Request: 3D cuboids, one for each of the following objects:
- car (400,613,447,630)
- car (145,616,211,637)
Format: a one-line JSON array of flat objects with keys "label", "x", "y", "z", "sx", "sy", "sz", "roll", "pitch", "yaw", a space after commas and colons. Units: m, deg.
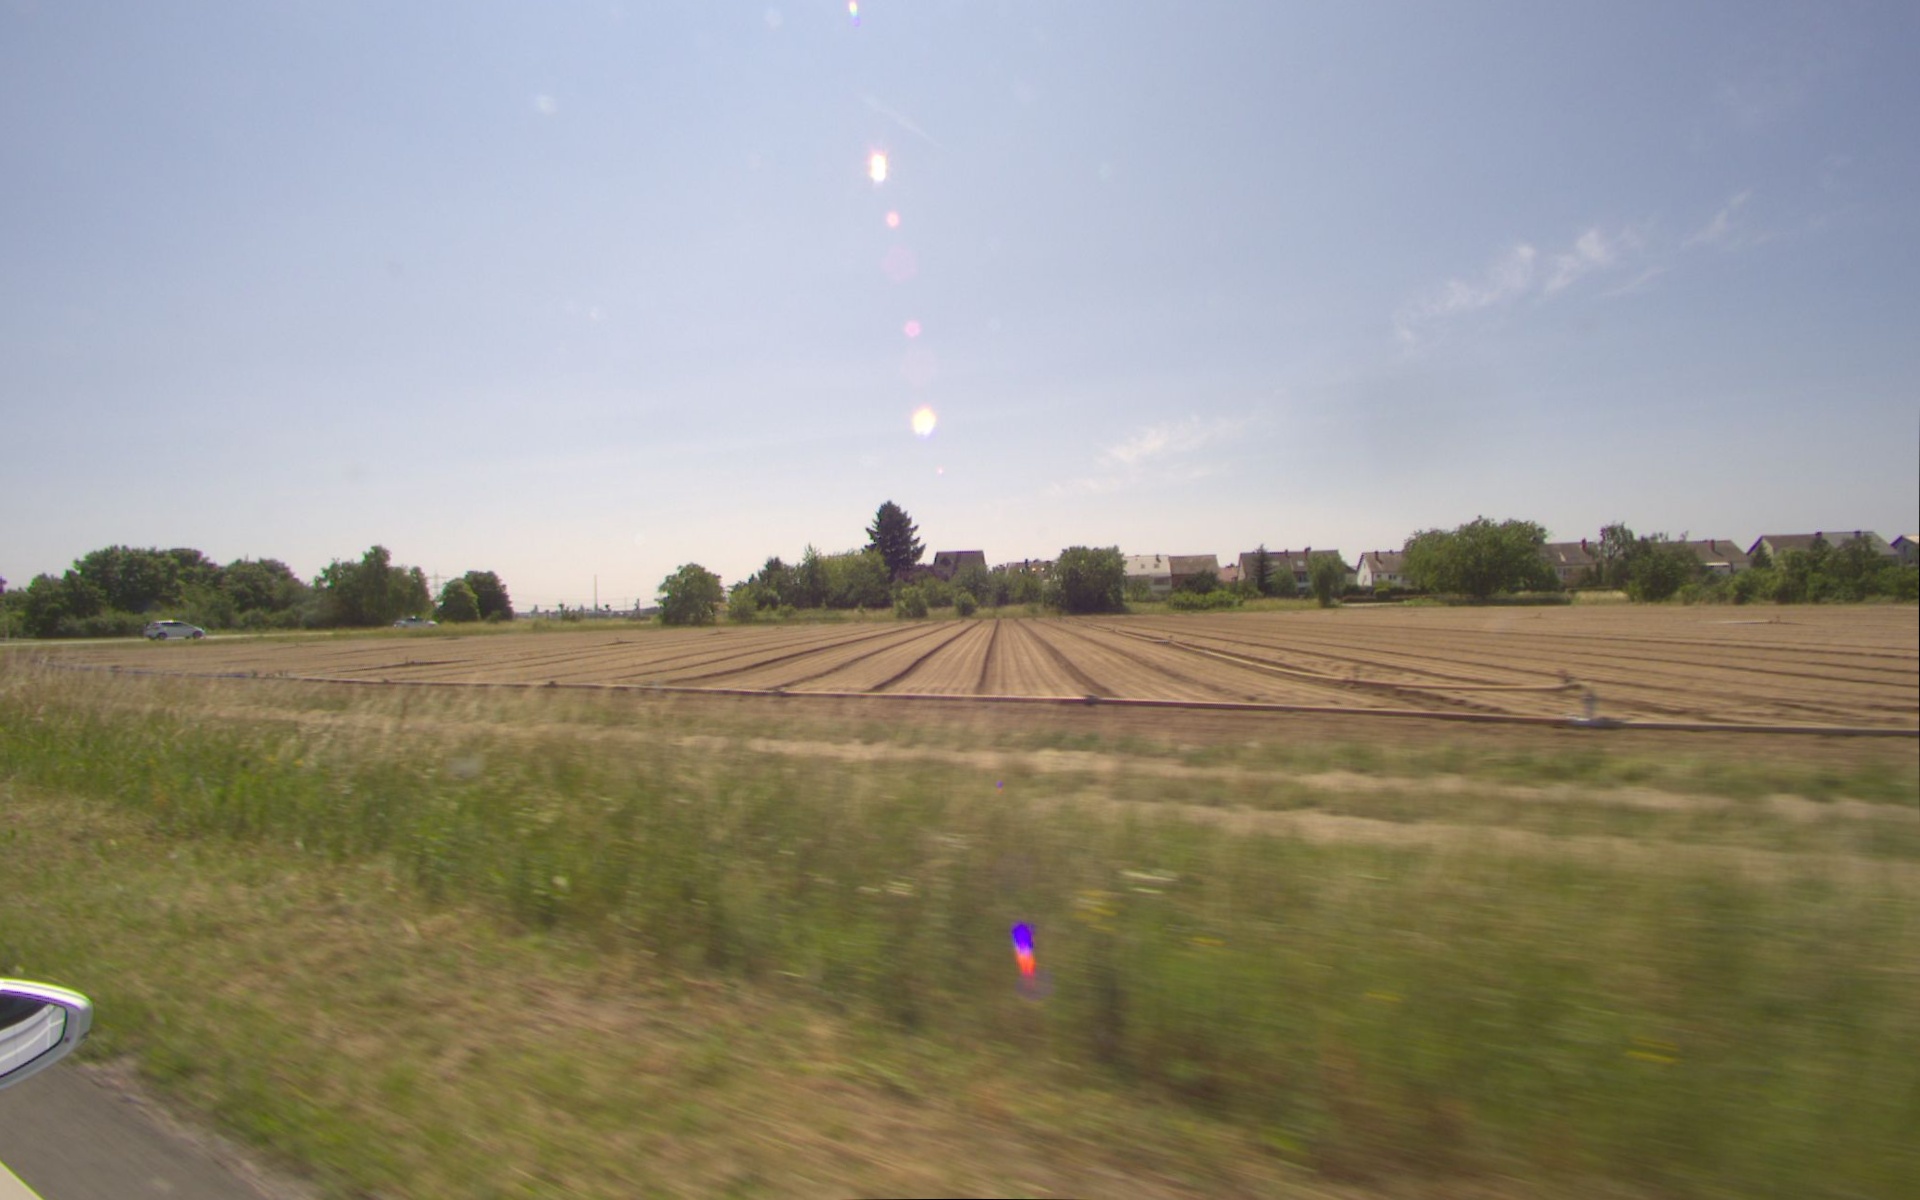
[{"label": "car", "x": -54.865, "y": 2.186, "z": 102.373, "sx": 3.954, "sy": 1.645, "sz": 1.631, "roll": -1, "pitch": 0, "yaw": -40}, {"label": "car", "x": -68.409, "y": 2.309, "z": 87.683, "sx": 2.041, "sy": 1.645, "sz": 4.120, "roll": -1, "pitch": 0, "yaw": 32}]
